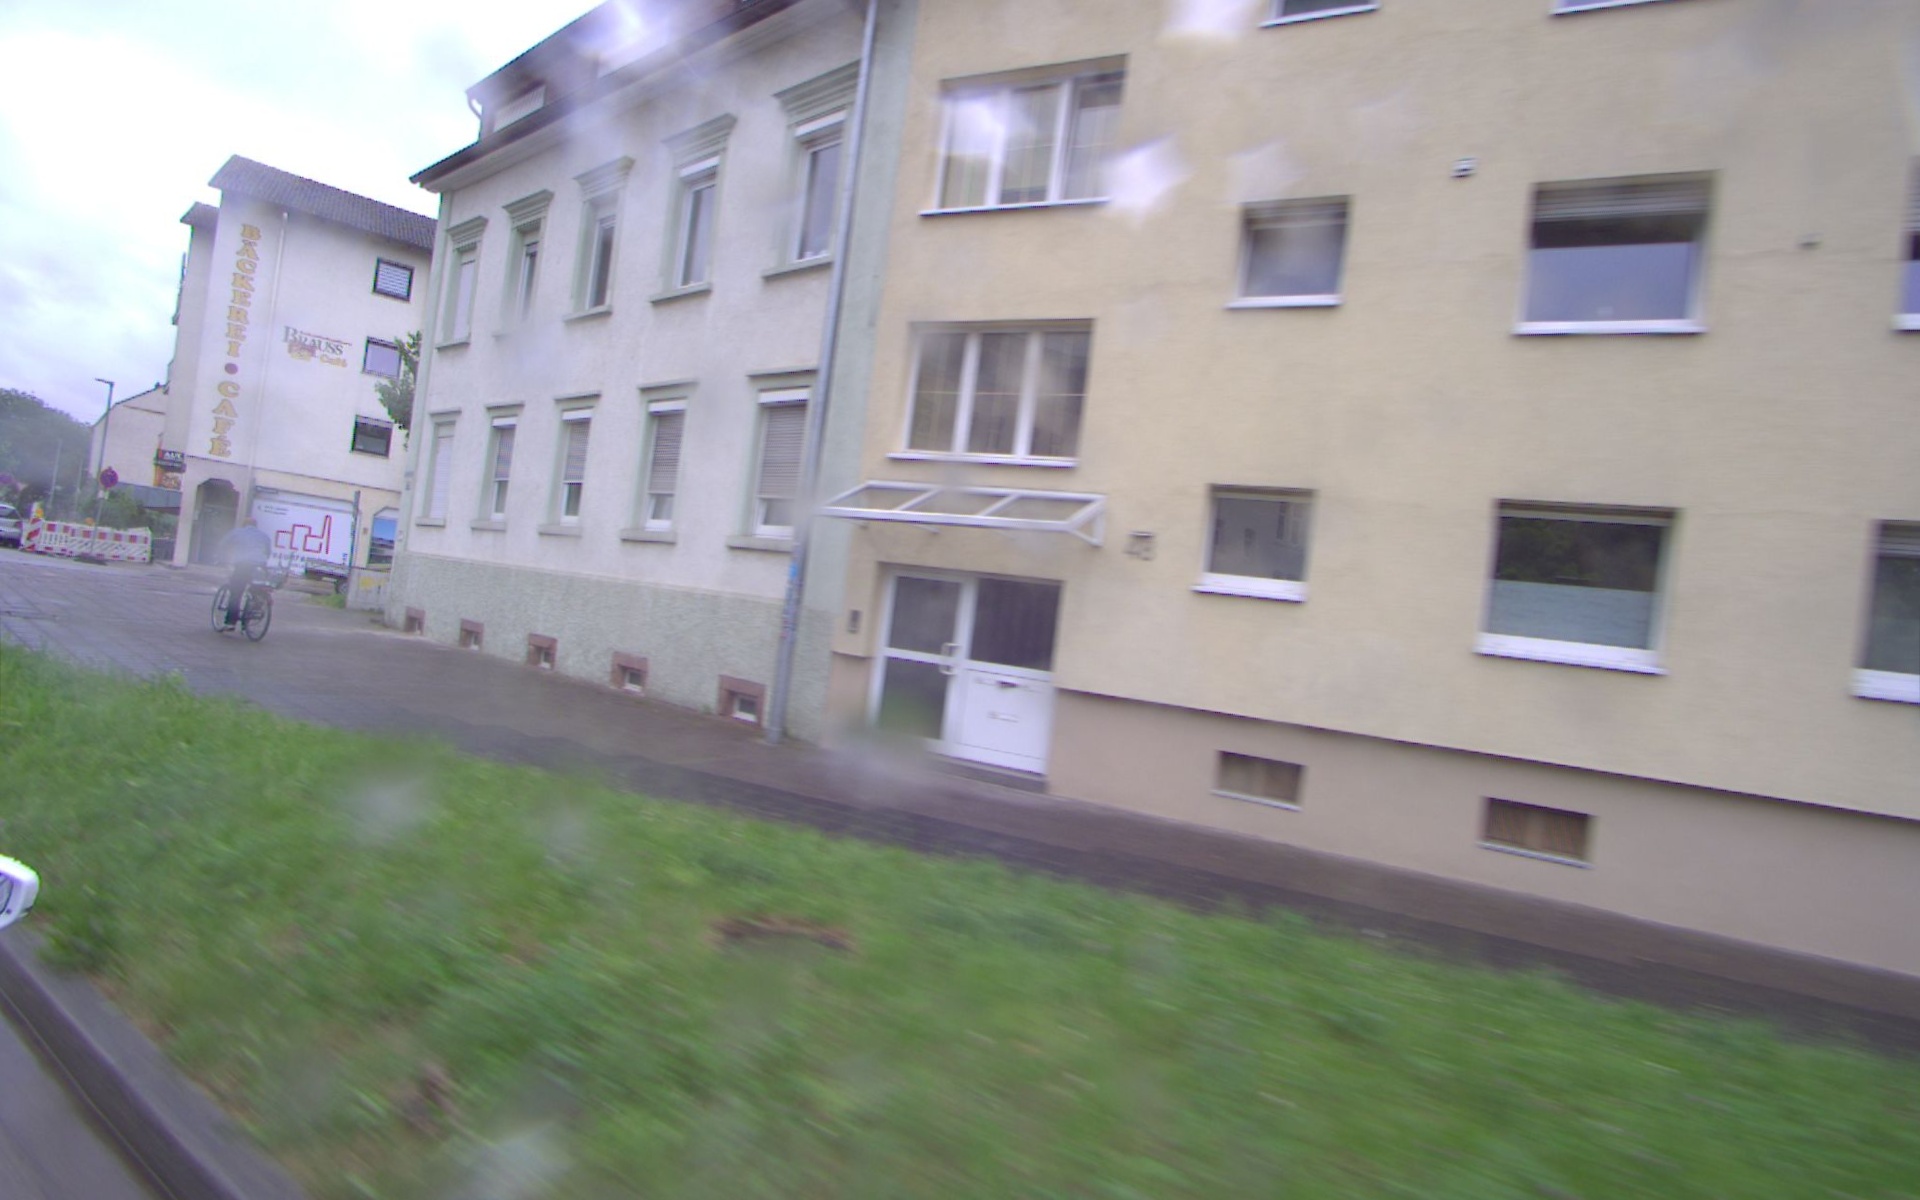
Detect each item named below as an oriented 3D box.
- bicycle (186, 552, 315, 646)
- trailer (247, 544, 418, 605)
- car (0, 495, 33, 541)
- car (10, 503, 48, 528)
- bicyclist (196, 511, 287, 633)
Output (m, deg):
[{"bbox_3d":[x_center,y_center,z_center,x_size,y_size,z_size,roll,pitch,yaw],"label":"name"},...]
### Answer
[{"bbox_3d":[-10.186,-0.019,14.422,1.938,1.072,0.674,7,-2,31],"label":"bicycle"},{"bbox_3d":[-20.194,-0.782,32.592,4.489,1.245,1.810,9,-3,-31],"label":"trailer"},{"bbox_3d":[-34.759,-3.047,36.021,4.117,1.449,1.634,6,-3,40],"label":"car"},{"bbox_3d":[-101.952,-9.207,110.251,2.339,2.233,4.567,9,-3,-37],"label":"car"},{"bbox_3d":[-10.200,-0.389,14.292,0.703,1.600,0.640,8,-1,30],"label":"bicyclist"}]
